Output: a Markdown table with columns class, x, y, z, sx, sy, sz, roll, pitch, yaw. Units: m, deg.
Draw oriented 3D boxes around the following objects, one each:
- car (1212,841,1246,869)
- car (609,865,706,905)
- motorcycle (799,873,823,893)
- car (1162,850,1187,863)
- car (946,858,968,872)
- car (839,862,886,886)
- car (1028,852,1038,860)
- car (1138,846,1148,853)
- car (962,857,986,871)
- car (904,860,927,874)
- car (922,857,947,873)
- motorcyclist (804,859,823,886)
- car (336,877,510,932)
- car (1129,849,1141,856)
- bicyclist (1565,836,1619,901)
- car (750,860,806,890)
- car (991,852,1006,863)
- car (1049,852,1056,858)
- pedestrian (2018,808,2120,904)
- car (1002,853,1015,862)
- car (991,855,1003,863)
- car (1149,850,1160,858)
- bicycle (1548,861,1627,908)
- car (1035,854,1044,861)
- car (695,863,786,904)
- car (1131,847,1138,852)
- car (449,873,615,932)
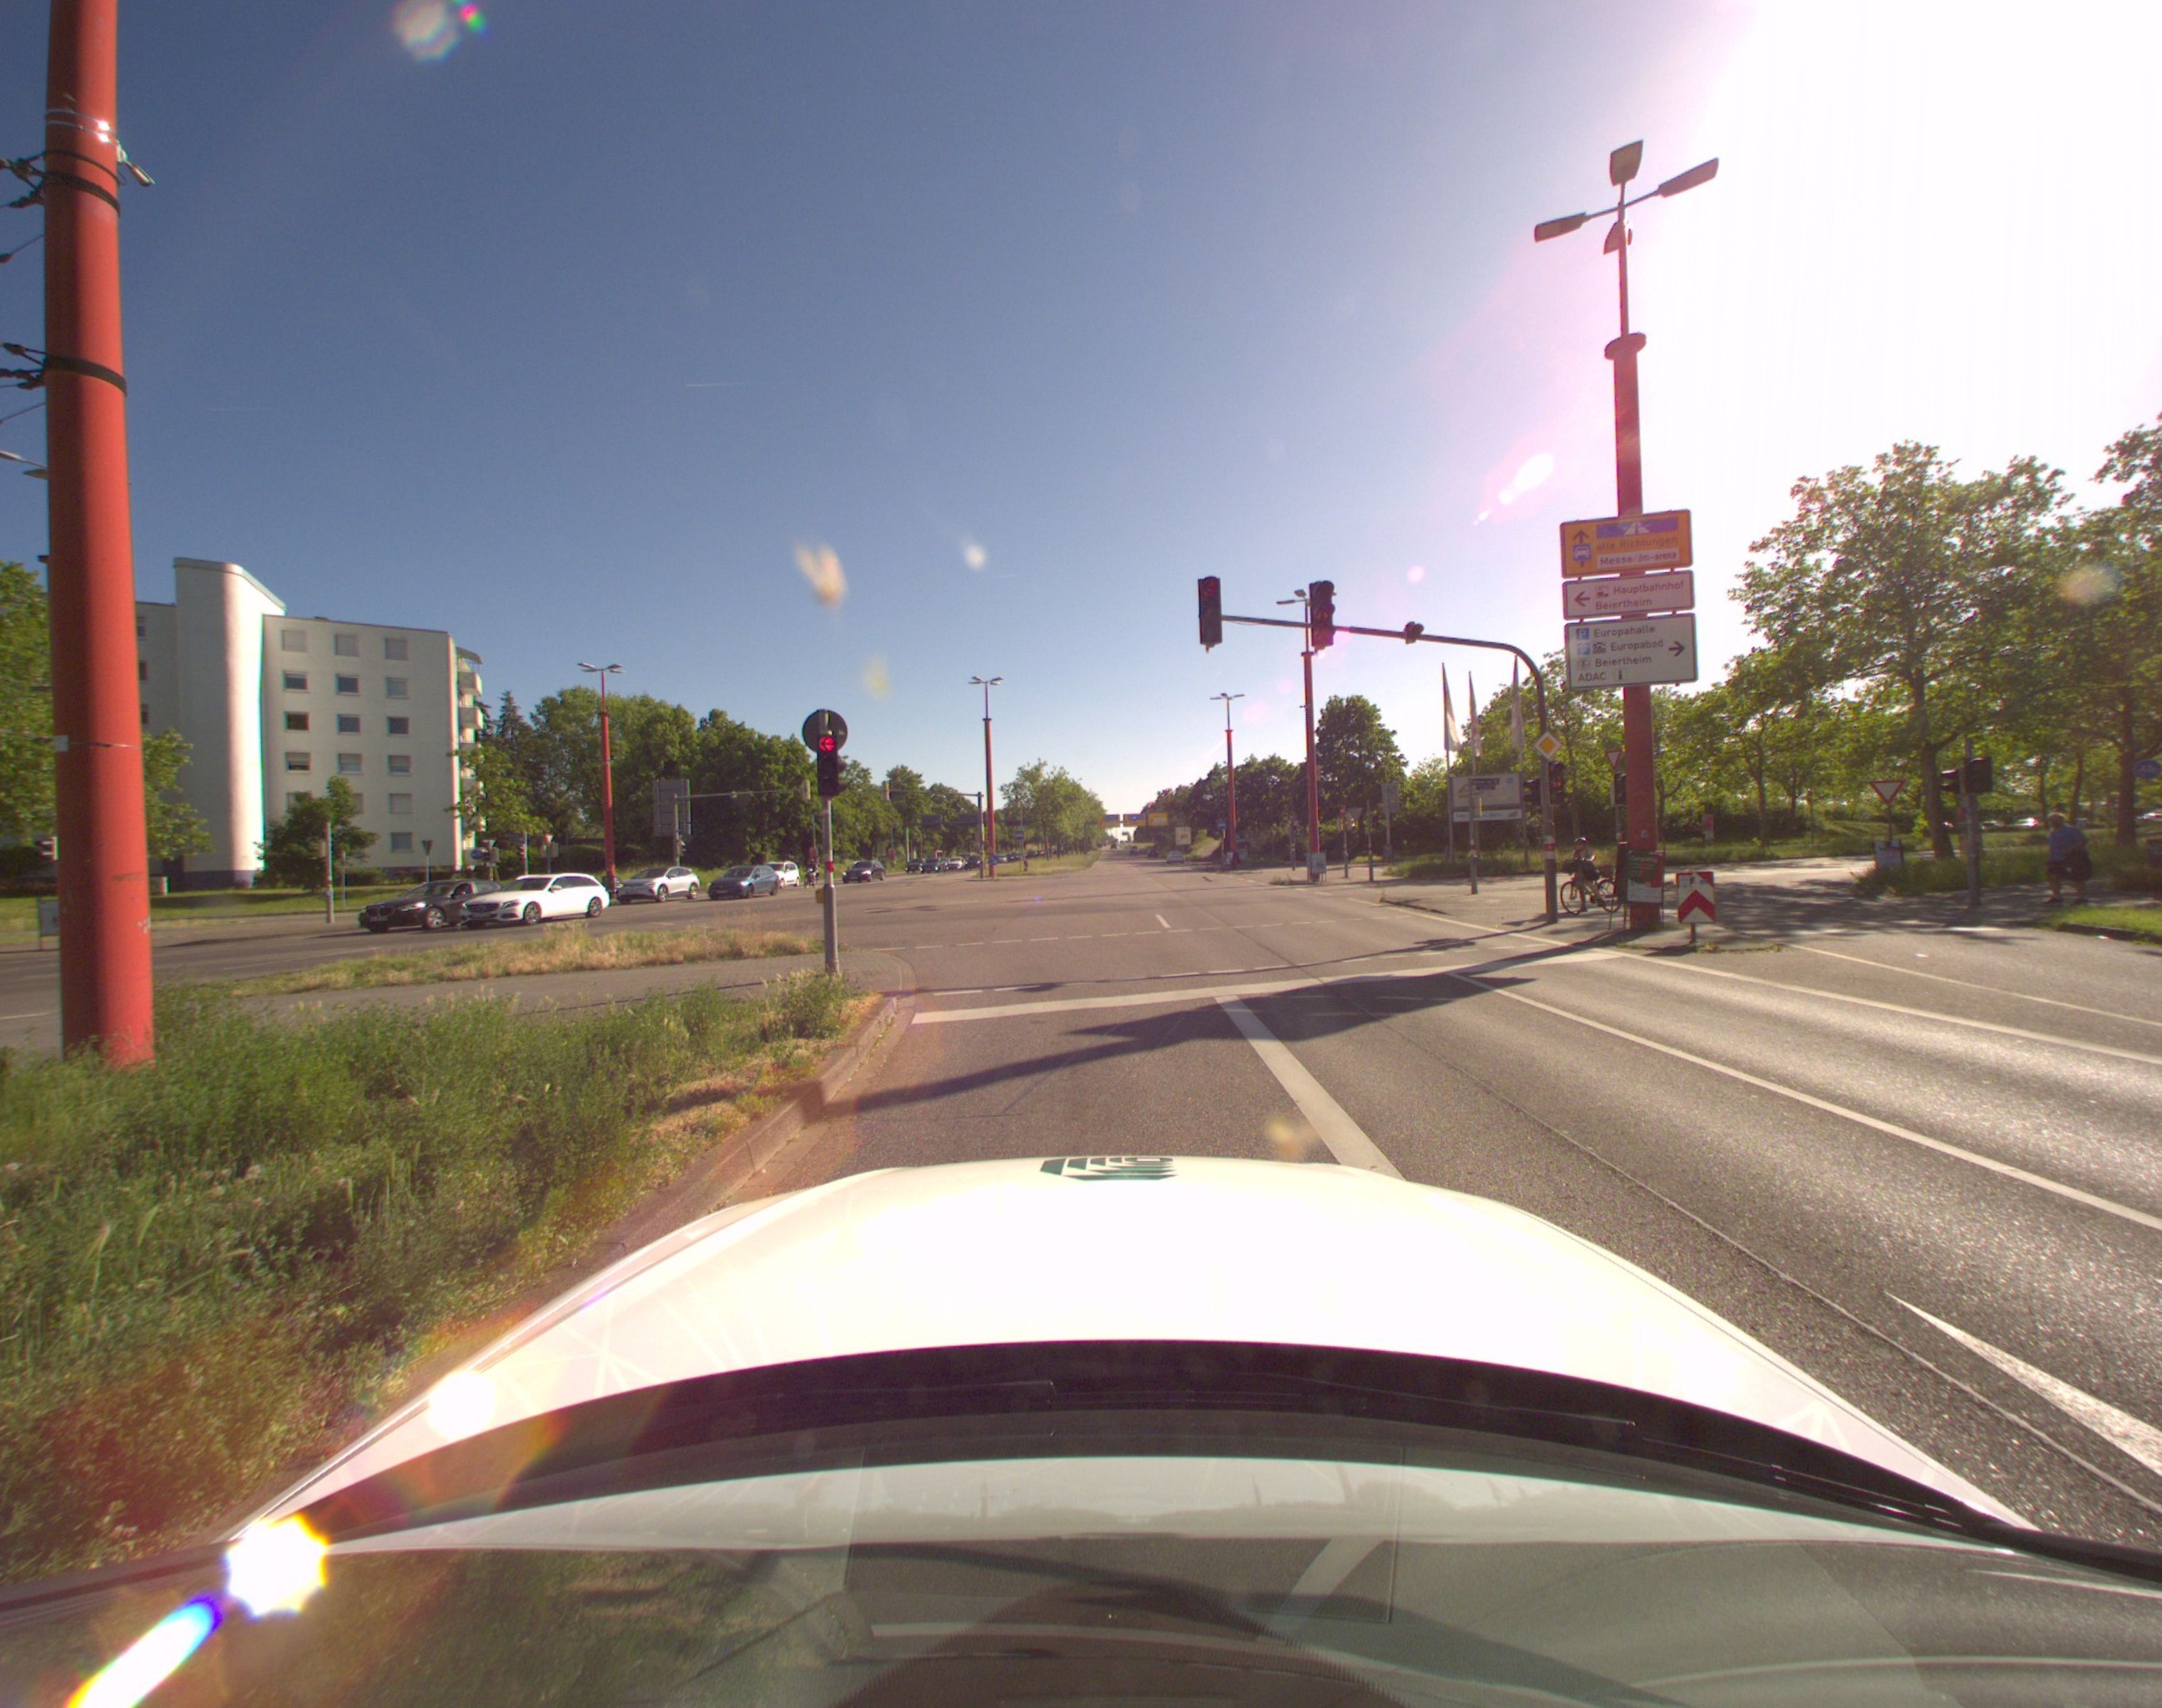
| class | x | y | z | sx | sy | sz | roll | pitch | yaw |
| --- | --- | --- | --- | --- | --- | --- | --- | --- | --- |
| car | 10.550 | 0.057 | 57.868 | 1.978 | 1.887 | 4.017 | -2 | 0 | 16 |
| car | -19.234 | 1.366 | 37.212 | 1.830 | 1.601 | 4.442 | -2 | 0 | 4 |
| motorcycle | -15.582 | 1.666 | 47.074 | 0.418 | 1.131 | 2.100 | -1 | 0 | 9 |
| car | 10.745 | 0.271 | 93.938 | 2.051 | 1.371 | 4.384 | -2 | 0 | -5 |
| car | -13.671 | 1.167 | 90.176 | 1.598 | 1.459 | 3.952 | -2 | 0 | 2 |
| car | -14.812 | 1.339 | 55.500 | 1.870 | 1.485 | 4.605 | -1 | 0 | 0 |
| car | -10.347 | 0.426 | 175.901 | 1.619 | 1.739 | 4.003 | -2 | 0 | 2 |
| car | 14.608 | -1.022 | 191.920 | 1.986 | 1.540 | 4.002 | -1 | 0 | 2 |
| car | -10.891 | 1.005 | 82.991 | 1.694 | 1.421 | 4.002 | 1 | 0 | 2 |
| car | -18.167 | 1.389 | 89.700 | 1.538 | 1.433 | 3.888 | -3 | 0 | 2 |
| car | -14.113 | 1.035 | 78.676 | 1.542 | 1.377 | 4.264 | -2 | 0 | 1 |
| motorcyclist | -15.531 | 1.072 | 47.313 | 0.830 | 1.599 | 0.642 | -1 | -1 | 8 |
| car | -19.645 | 1.457 | 24.583 | 1.855 | 1.341 | 4.031 | -3 | 0 | 1 |
| car | 11.202 | -0.291 | 168.418 | 1.990 | 1.496 | 3.994 | -2 | 0 | -4 |
| bicyclist | 10.943 | 0.304 | 17.451 | 0.744 | 1.341 | 0.701 | -2 | 0 | -31 |
| car | -19.021 | 1.305 | 51.280 | 1.793 | 1.707 | 4.062 | -2 | 0 | 2 |
| car | -12.829 | 0.582 | 126.737 | 1.697 | 1.596 | 4.003 | -1 | 0 | 3 |
| car | -7.496 | 0.277 | 212.539 | 1.601 | 1.730 | 3.791 | -1 | 0 | 3 |
| pedestrian | 18.926 | 0.038 | 15.629 | 0.885 | 1.788 | 0.903 | -1 | 1 | 11 |
| car | -12.293 | 0.603 | 139.094 | 1.697 | 1.558 | 3.806 | -1 | 0 | 3 |
| car | -14.853 | 0.835 | 143.736 | 1.622 | 1.450 | 3.435 | -1 | 0 | 2 |
| car | 13.175 | 0.064 | 146.135 | 1.731 | 1.341 | 3.083 | -2 | 0 | 2 |
| bicycle | 10.861 | 0.622 | 17.425 | 2.177 | 0.878 | 0.554 | -2 | 0 | -33 |
| car | -9.886 | 0.847 | 195.420 | 1.650 | 1.747 | 4.003 | -1 | 0 | 3 |
| car | -15.453 | 1.292 | 37.248 | 1.985 | 1.594 | 4.468 | -3 | 0 | 4 |
| car | 16.014 | -1.367 | 242.778 | 1.983 | 1.540 | 4.008 | -2 | 0 | 7 |
| car | -16.369 | 1.384 | 24.626 | 1.697 | 1.423 | 4.645 | -3 | 0 | 2 |
